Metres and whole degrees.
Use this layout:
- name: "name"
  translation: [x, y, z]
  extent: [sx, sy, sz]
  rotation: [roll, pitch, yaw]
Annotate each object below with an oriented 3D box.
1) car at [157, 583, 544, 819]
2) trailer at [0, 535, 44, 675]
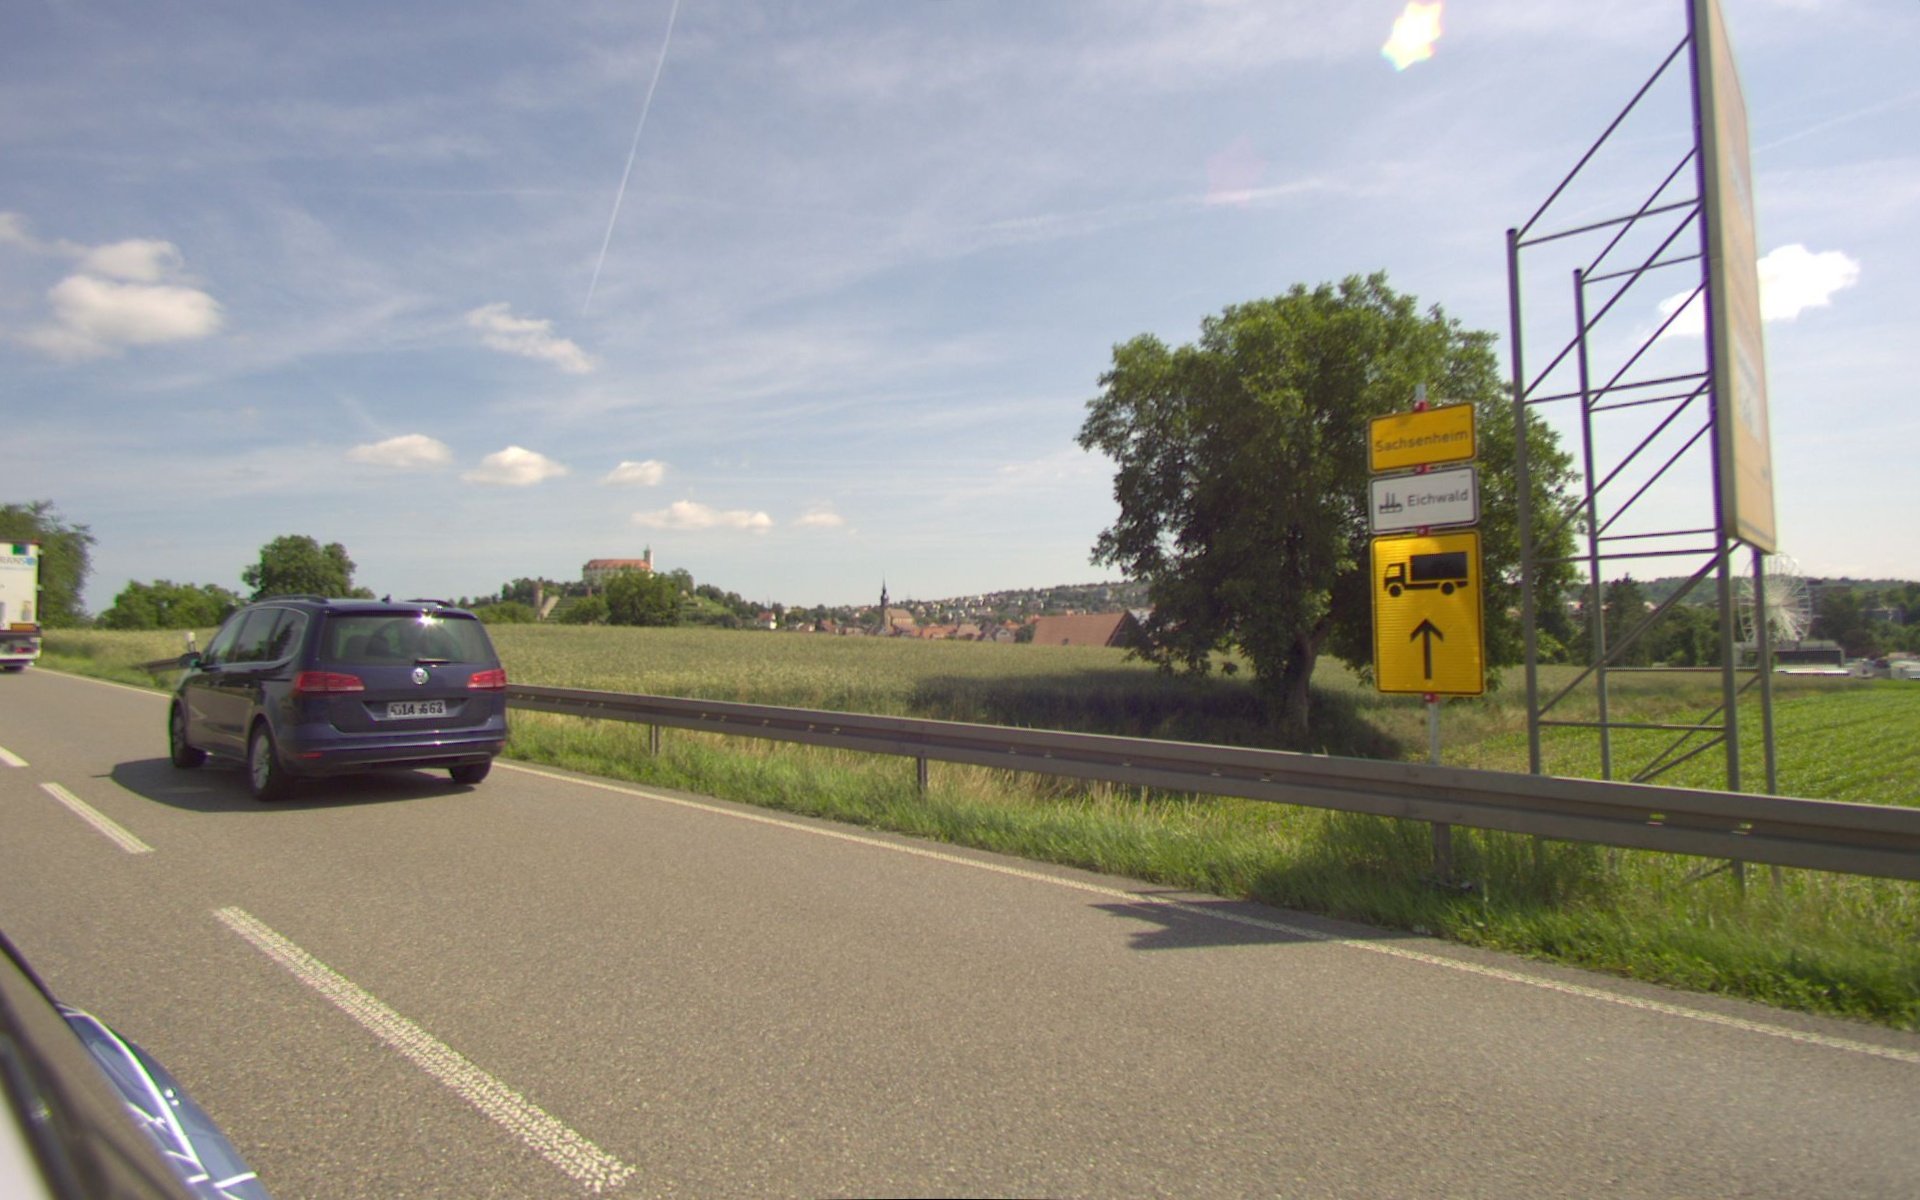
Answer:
- name: "car"
  translation: [-5.904, 0.824, 9.588]
  extent: [4.360, 1.735, 1.810]
  rotation: [-1, -4, 41]
- name: "trailer"
  translation: [-33.913, 0.246, 34.324]
  extent: [13.891, 4.151, 2.481]
  rotation: [-1, -3, 41]
